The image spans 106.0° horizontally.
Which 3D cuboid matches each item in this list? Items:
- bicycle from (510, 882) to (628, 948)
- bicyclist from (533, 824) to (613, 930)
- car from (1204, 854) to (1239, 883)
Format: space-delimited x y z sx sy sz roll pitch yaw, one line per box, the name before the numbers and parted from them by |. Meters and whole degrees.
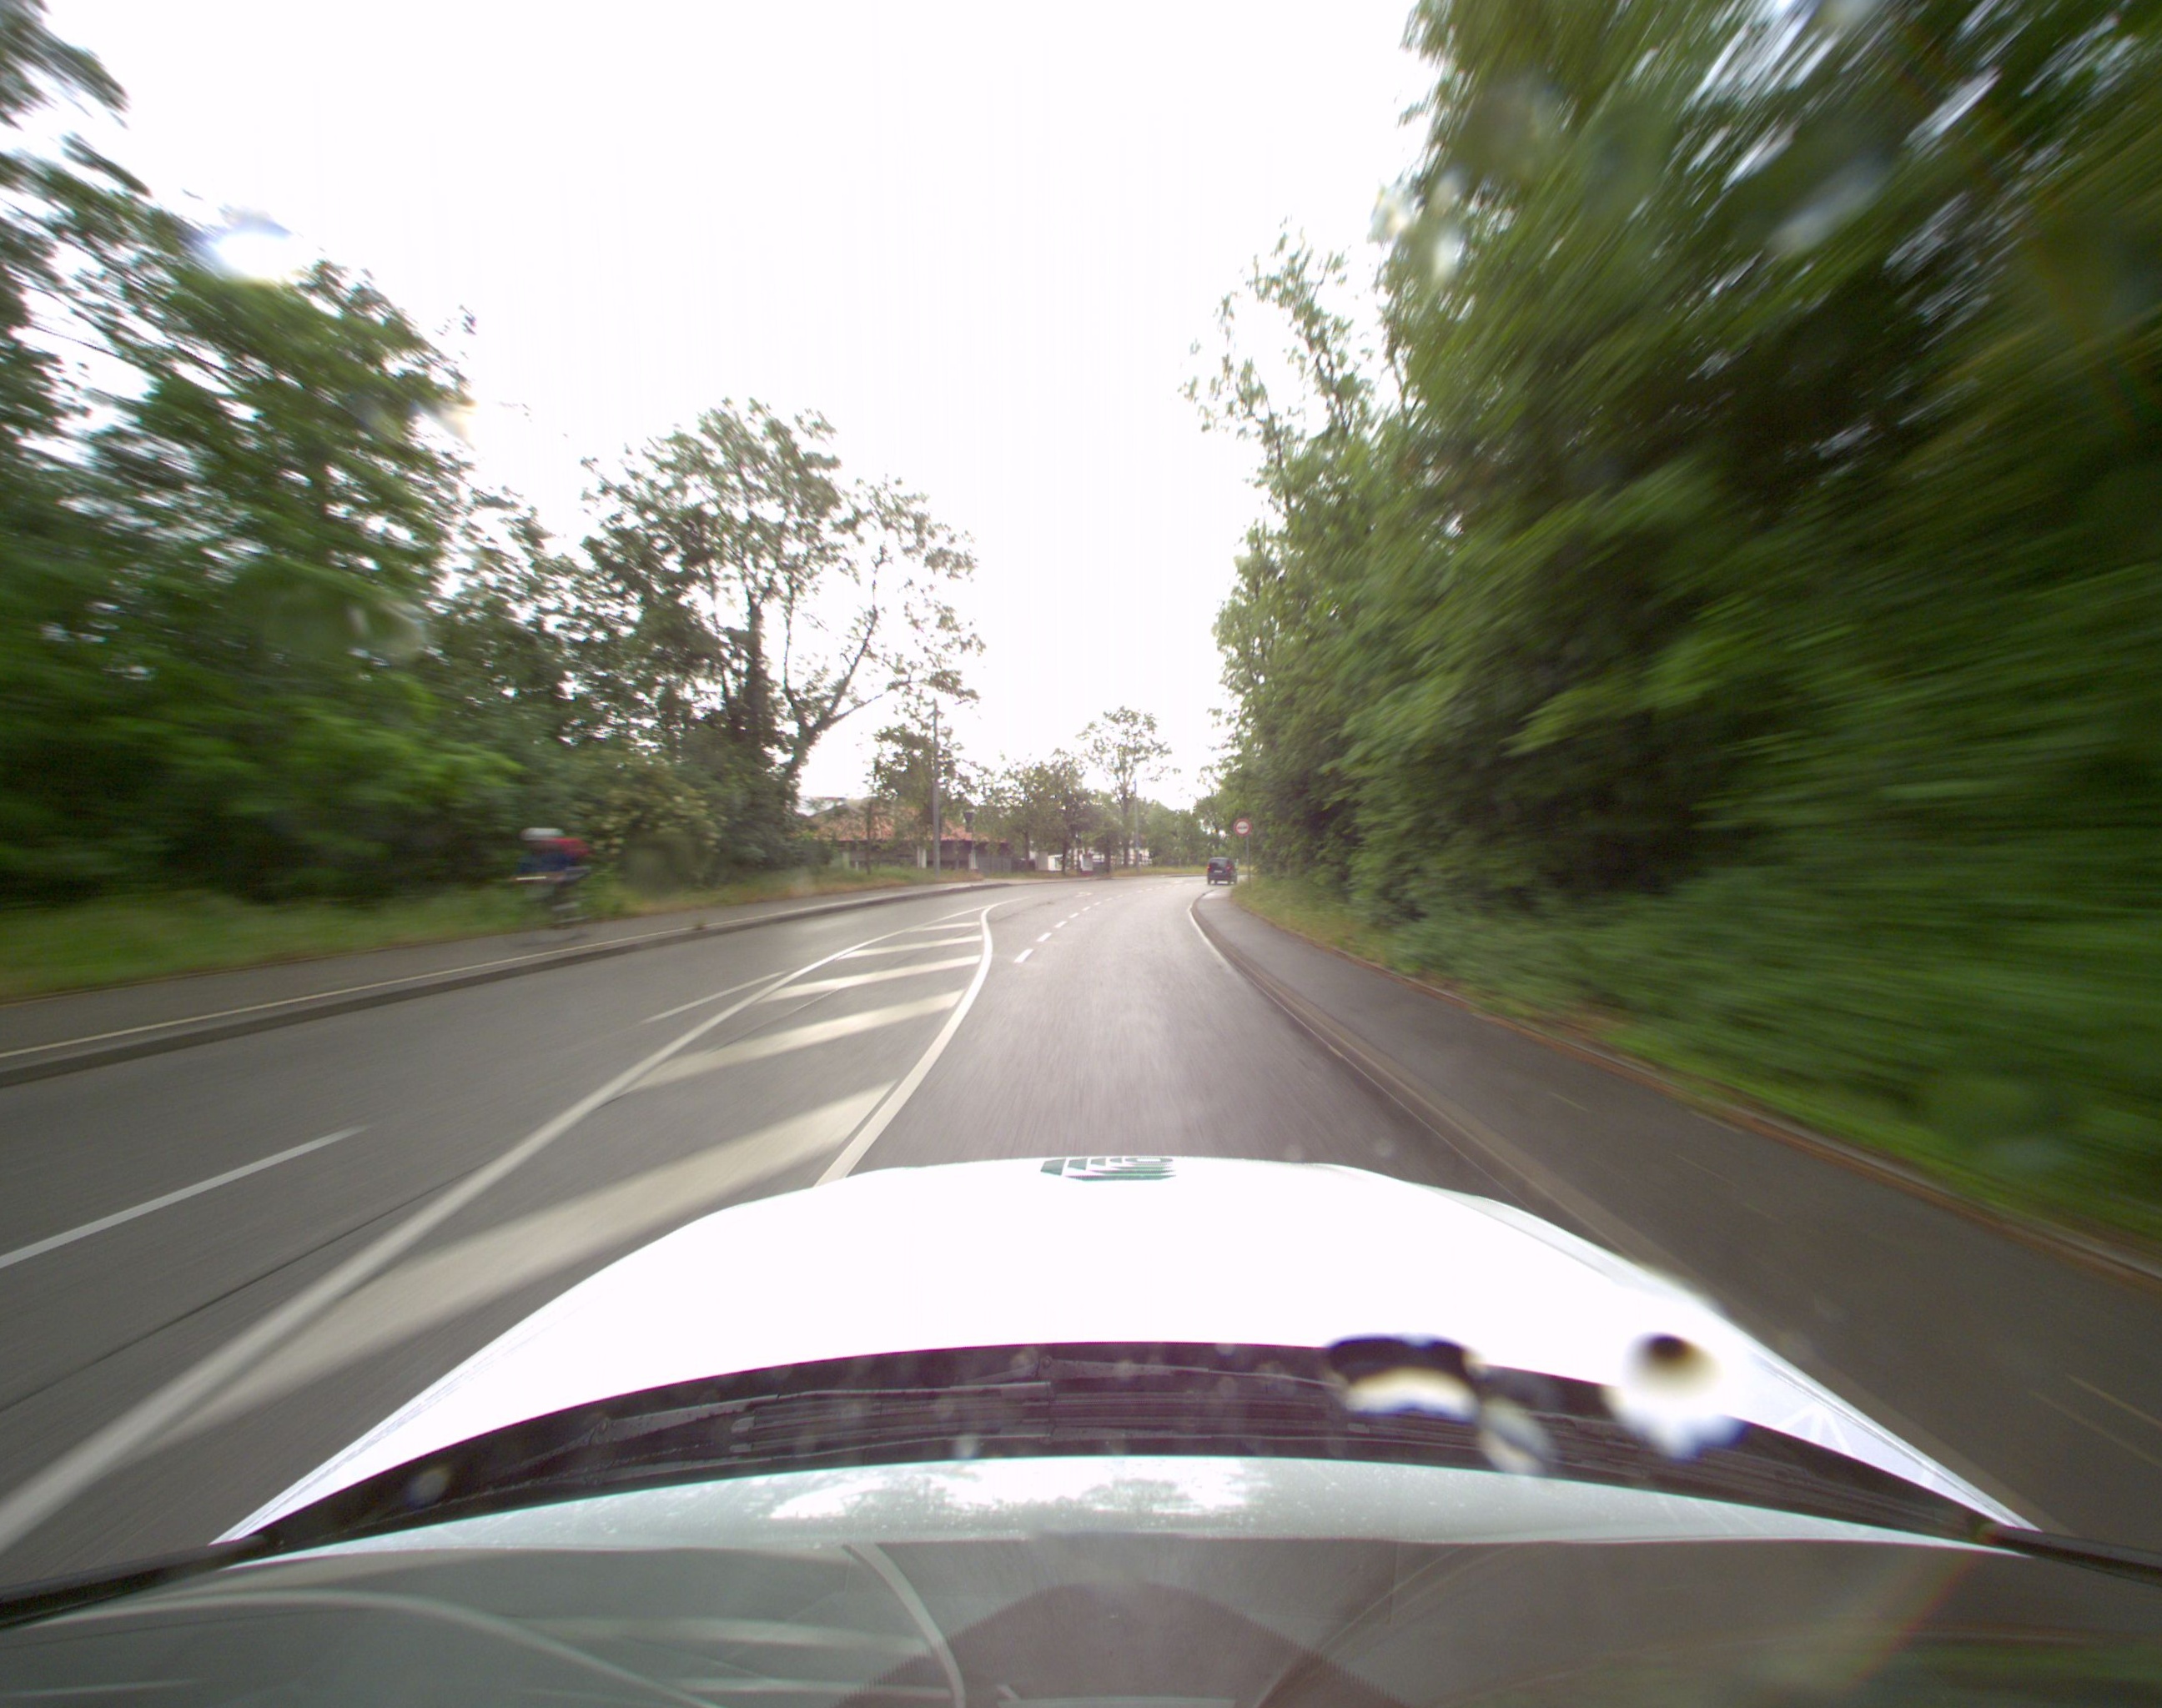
bicycle | -7.891 0.906 12.668 0.354 0.849 2.096 0 0 5
bicyclist | -7.887 0.336 12.688 0.334 1.574 1.299 0 0 4
car | 9.930 1.026 57.284 1.813 1.794 4.017 -5 -3 16
